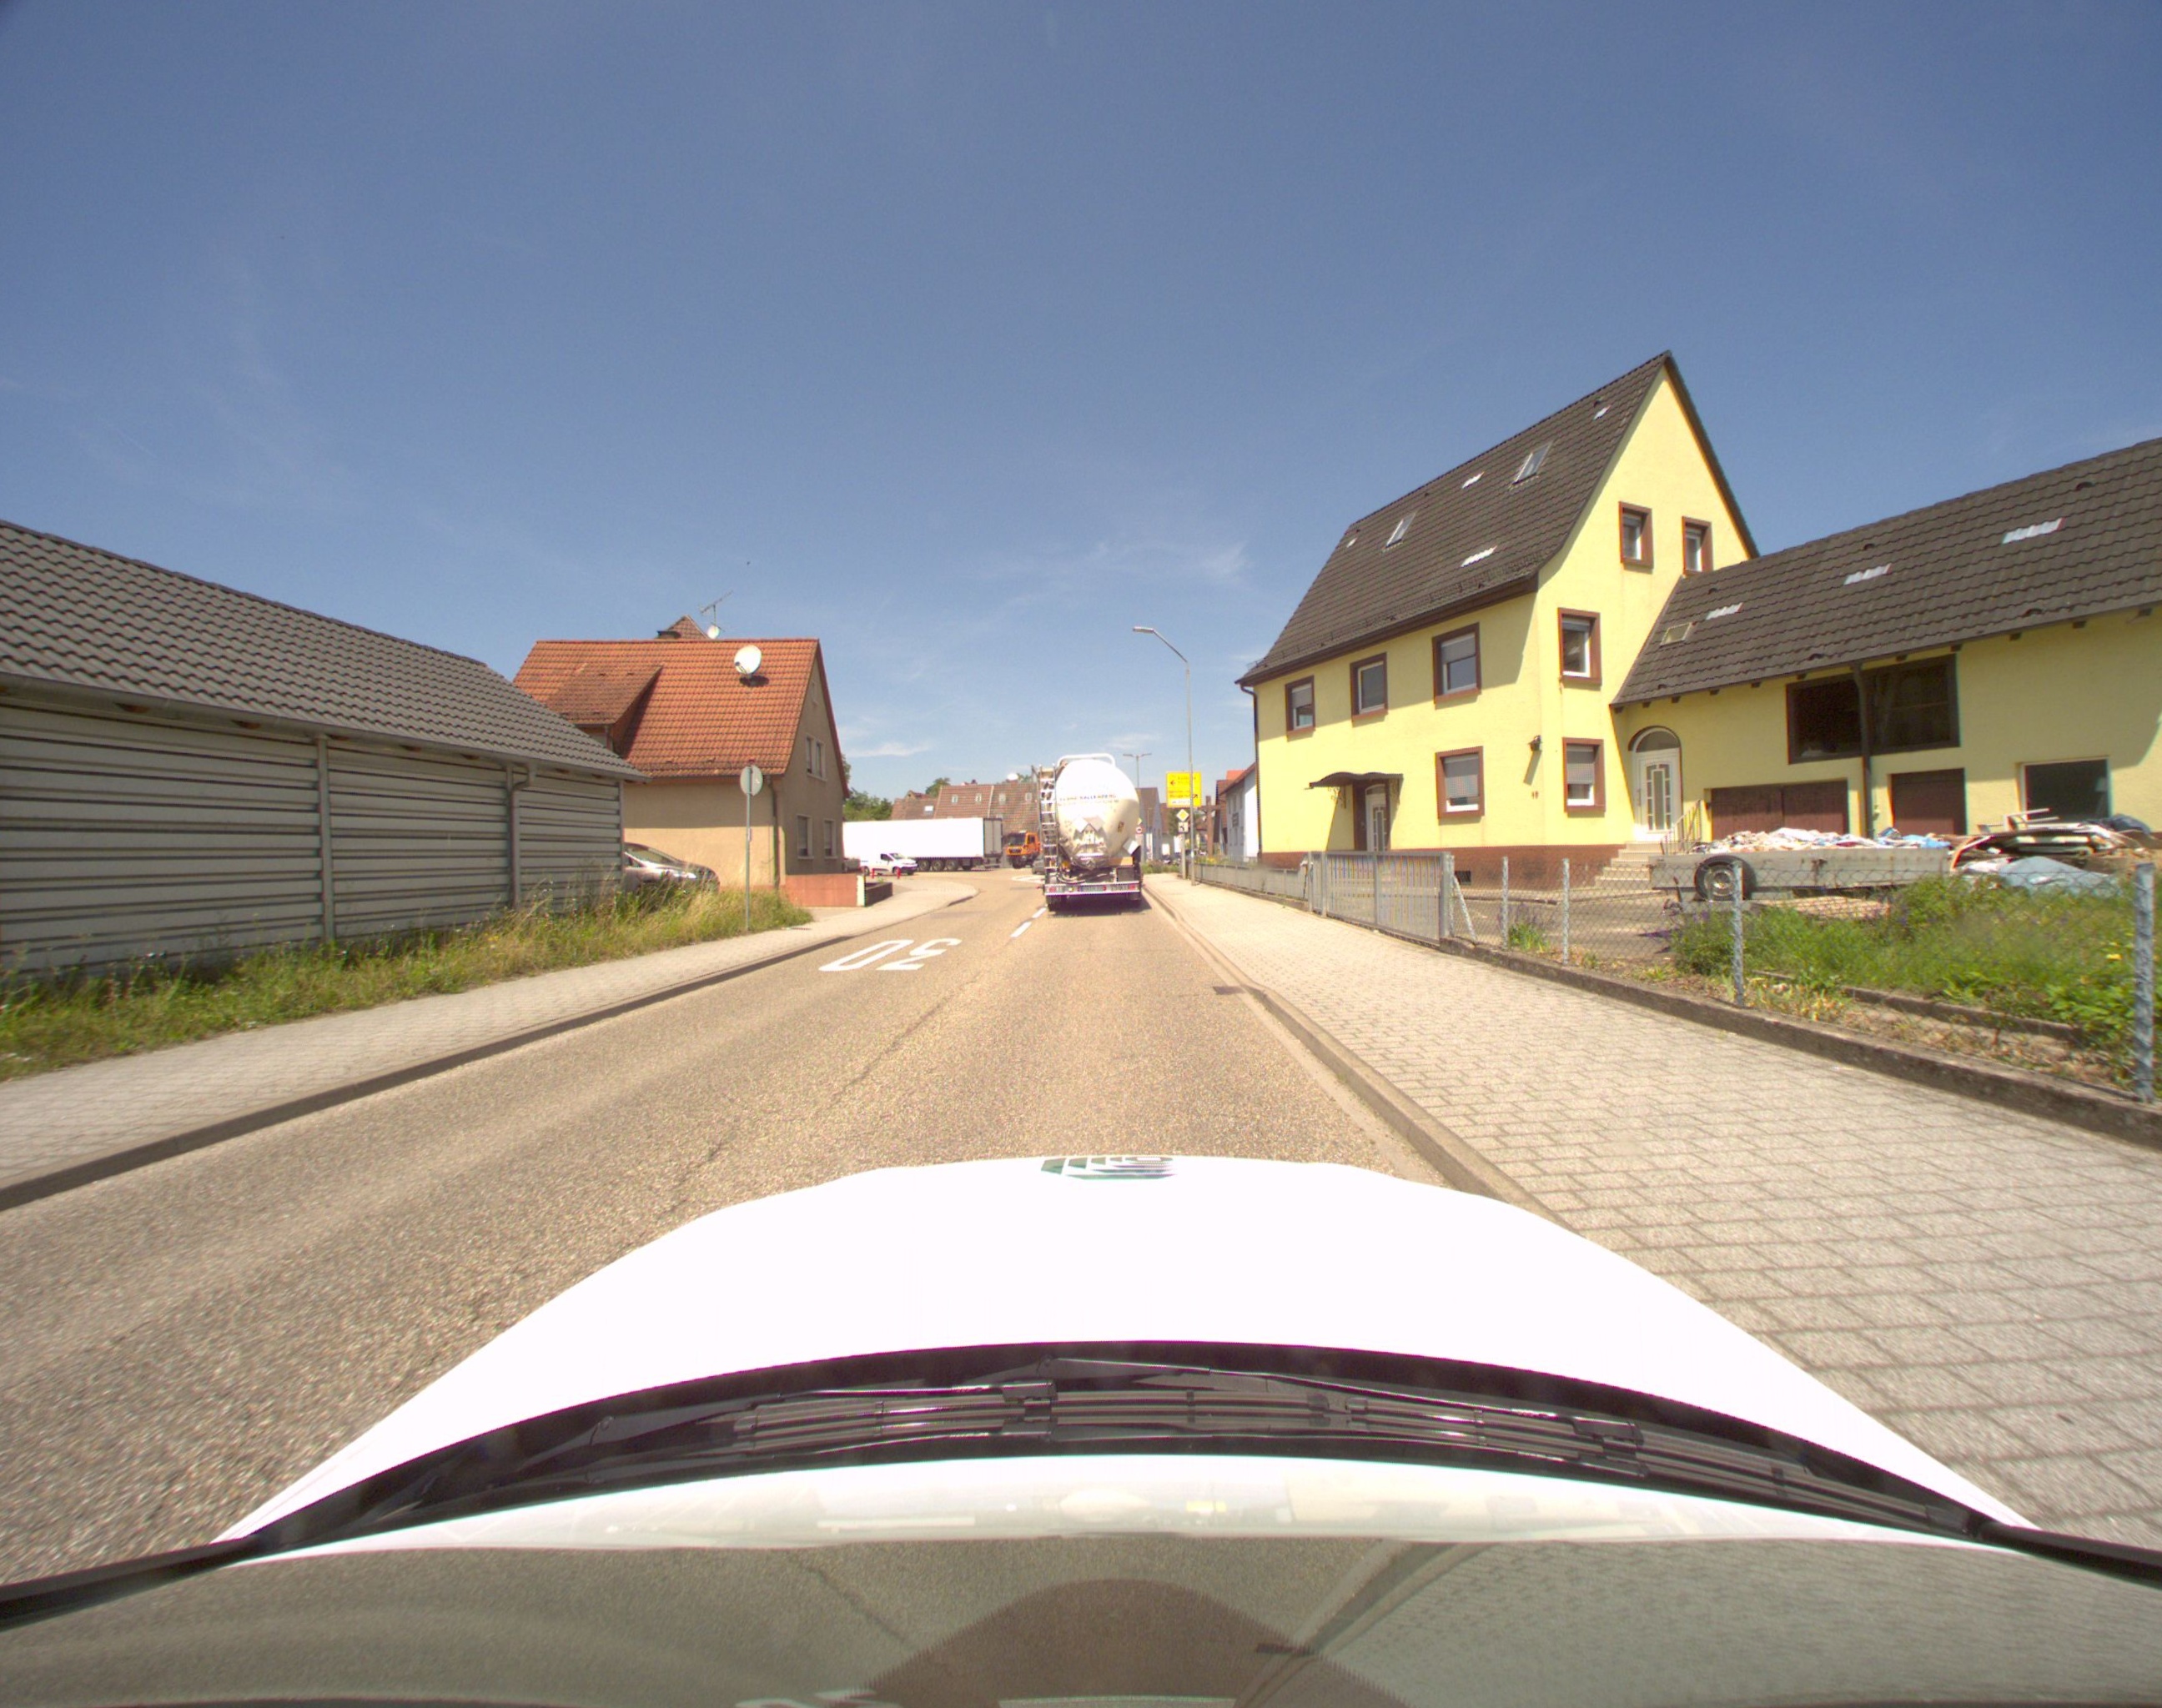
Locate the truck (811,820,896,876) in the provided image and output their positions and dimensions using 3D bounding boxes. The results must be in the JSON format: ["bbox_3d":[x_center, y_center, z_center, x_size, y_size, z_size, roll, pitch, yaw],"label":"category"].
[{"bbox_3d":[-18.735,-0.460,67.140,5.868,4.401,3.129,-1,-1,18],"label":"truck"}]

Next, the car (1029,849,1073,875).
[{"bbox_3d":[-2.002,0.524,53.948,1.789,1.585,3.579,-2,0,-22],"label":"car"}]

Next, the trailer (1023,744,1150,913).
[{"bbox_3d":[0.121,-0.561,24.985,2.943,3.948,11.615,0,0,0],"label":"trailer"}]

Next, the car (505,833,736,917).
[{"bbox_3d":[-10.310,0.449,18.435,4.107,1.638,1.867,-2,0,3],"label":"car"}]

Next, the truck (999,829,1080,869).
[{"bbox_3d":[-3.395,-0.352,69.147,2.635,3.181,7.510,-2,-2,37],"label":"truck"}]

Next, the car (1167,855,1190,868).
[{"bbox_3d":[13.495,1.012,112.672,1.976,1.675,4.337,-1,-1,24],"label":"car"}]

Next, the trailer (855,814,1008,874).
[{"bbox_3d":[-11.914,-0.652,64.179,12.339,4.277,3.161,-1,-1,26],"label":"trailer"}]

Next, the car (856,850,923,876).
[{"bbox_3d":[-13.996,0.661,59.509,4.467,1.785,1.890,-1,1,23],"label":"car"}]

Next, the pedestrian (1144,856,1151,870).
[{"bbox_3d":[9.405,1.249,115.233,0.762,2.013,0.982,-1,0,22],"label":"pedestrian"}]

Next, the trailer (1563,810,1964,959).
[{"bbox_3d":[9.014,0.309,10.675,5.376,1.546,2.119,-1,-1,-28],"label":"trailer"}]

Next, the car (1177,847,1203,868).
[{"bbox_3d":[10.743,0.353,79.918,1.979,1.912,4.340,-1,-2,14],"label":"car"}]
